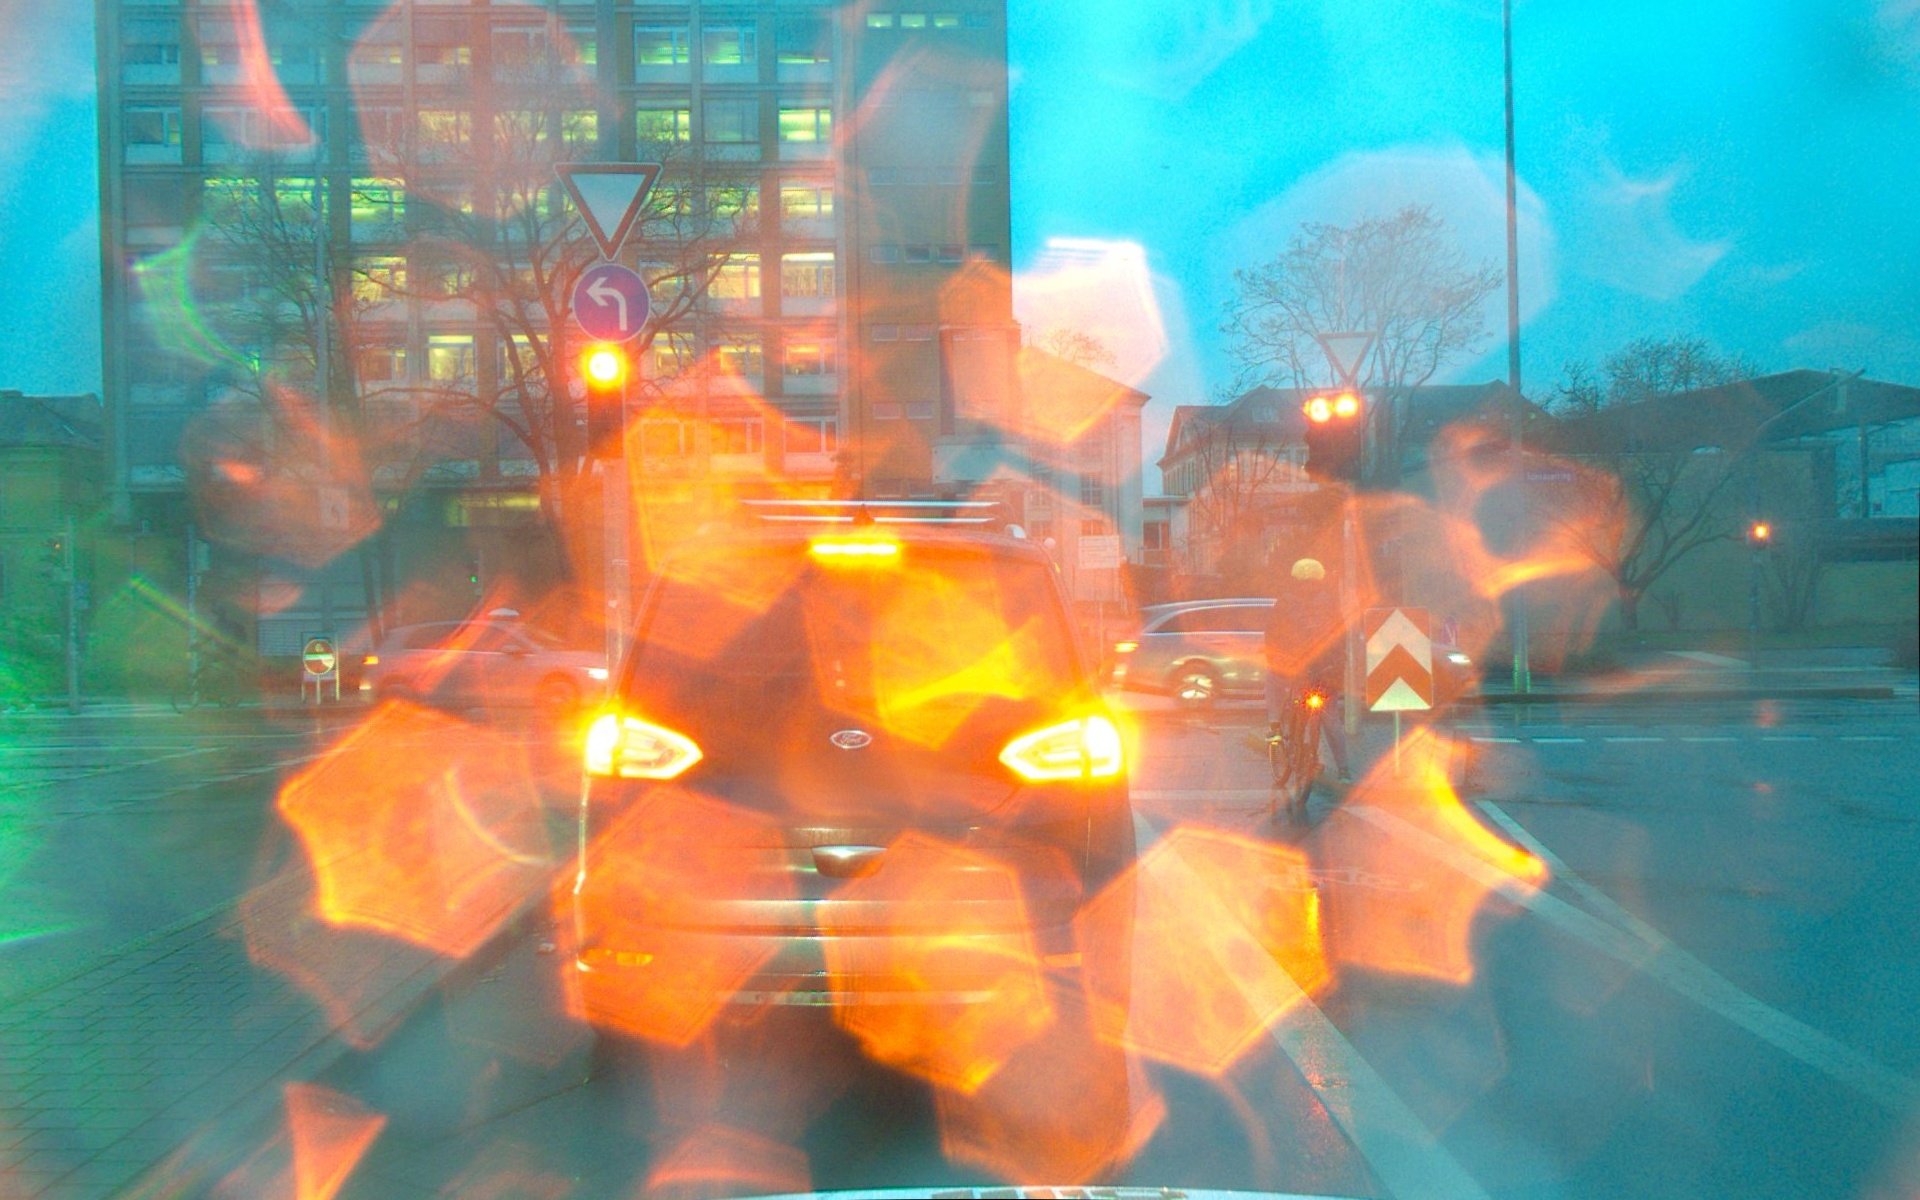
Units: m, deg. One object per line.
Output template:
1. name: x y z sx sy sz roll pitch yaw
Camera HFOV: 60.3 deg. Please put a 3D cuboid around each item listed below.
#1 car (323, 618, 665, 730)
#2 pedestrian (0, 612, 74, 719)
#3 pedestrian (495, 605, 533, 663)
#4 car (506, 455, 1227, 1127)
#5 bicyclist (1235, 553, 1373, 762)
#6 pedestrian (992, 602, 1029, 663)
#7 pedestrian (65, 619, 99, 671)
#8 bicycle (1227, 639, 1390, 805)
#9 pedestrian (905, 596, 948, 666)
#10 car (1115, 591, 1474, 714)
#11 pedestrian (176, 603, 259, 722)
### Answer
1. car: -6.910 1.092 24.706 4.556 1.503 1.813 -2 -1 10
2. pedestrian: -17.347 1.201 30.736 0.983 1.874 1.136 -1 3 33
3. pedestrian: -12.880 0.978 47.767 0.744 1.656 0.722 -2 0 19
4. car: -0.280 0.537 6.551 1.953 1.821 3.999 1 0 -1
5. bicyclist: 2.552 0.414 12.378 0.767 1.478 1.133 1 0 -1
6. pedestrian: 1.350 0.865 44.077 0.905 1.559 1.043 -2 0 4
7. pedestrian: -28.426 1.448 53.532 0.743 1.656 0.558 -2 0 14
8. bicycle: 2.565 0.866 12.385 0.767 1.094 1.956 1 0 -1
9. pedestrian: -0.914 0.838 45.175 0.975 1.831 0.920 -2 0 8
10. car: 4.476 0.702 22.470 4.556 1.503 1.813 -2 -1 9
11. pedestrian: -13.019 1.079 29.037 0.908 2.013 0.960 -2 0 5
